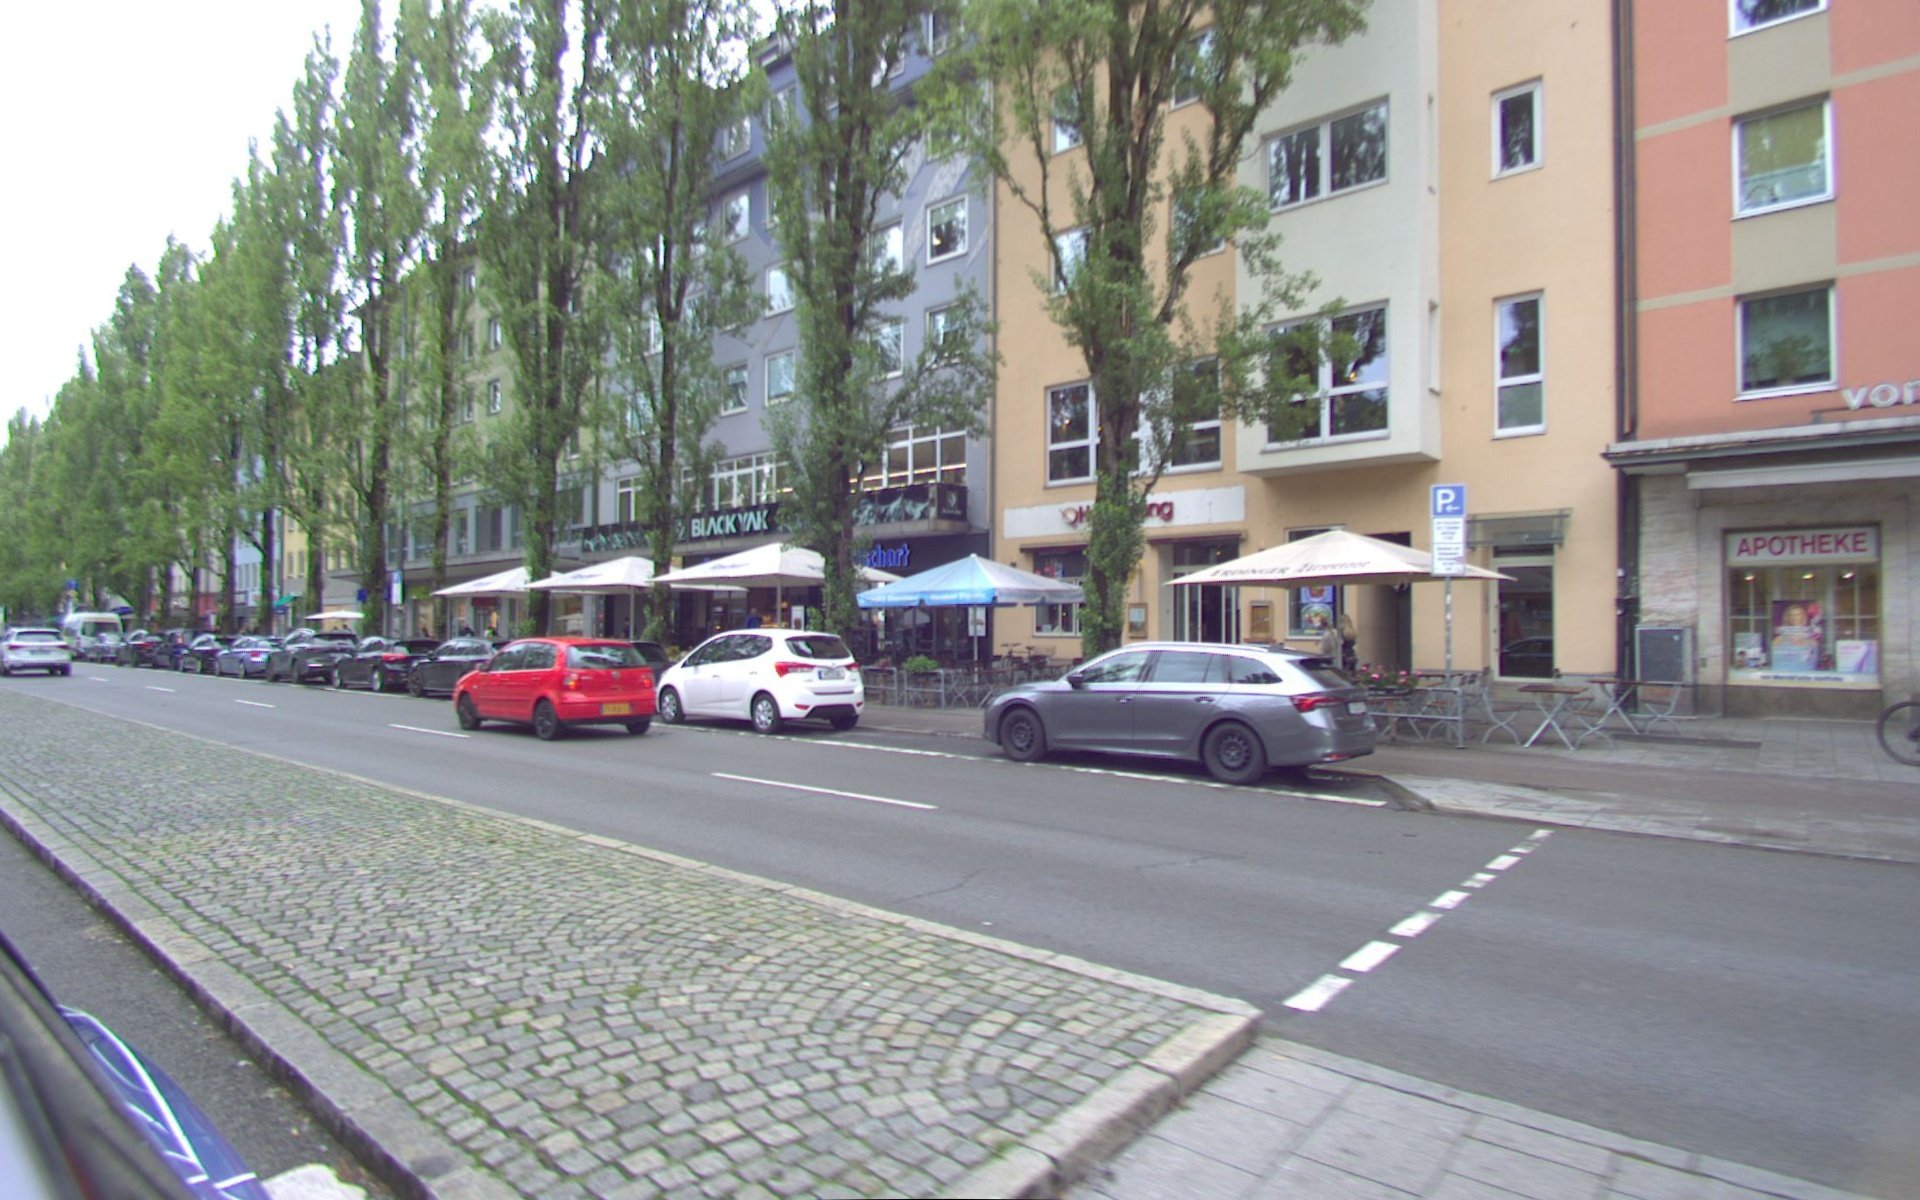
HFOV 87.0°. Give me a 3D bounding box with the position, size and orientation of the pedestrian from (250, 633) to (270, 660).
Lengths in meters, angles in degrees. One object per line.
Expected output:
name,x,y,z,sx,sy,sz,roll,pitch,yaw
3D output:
pedestrian,-38.308,2.536,55.402,0.550,1.449,0.760,-2,-3,36

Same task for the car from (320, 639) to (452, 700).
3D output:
car,-15.374,1.814,27.024,4.367,1.478,1.659,-1,-4,41

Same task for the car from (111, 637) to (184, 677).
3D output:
car,-36.239,2.513,45.101,4.500,1.645,1.685,-1,-4,41

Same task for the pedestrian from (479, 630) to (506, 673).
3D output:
pedestrian,-19.570,2.132,42.369,0.755,1.768,0.810,-2,-2,41

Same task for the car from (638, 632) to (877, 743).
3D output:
car,-3.407,1.342,16.608,4.094,1.595,1.685,-1,-4,41

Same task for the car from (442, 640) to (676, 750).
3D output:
car,-6.167,1.343,15.384,3.821,1.448,1.718,-2,-3,41

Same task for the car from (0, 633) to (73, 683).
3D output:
car,-32.747,2.011,35.491,4.573,1.648,1.824,-2,-4,41

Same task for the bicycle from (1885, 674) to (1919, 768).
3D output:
bicycle,10.735,1.288,10.391,0.324,0.993,1.817,1,-2,-24

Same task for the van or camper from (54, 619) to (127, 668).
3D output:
van or camper,-47.902,2.351,55.707,6.640,2.570,2.103,-2,-2,41

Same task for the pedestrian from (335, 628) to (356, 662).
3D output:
pedestrian,-32.582,2.368,53.673,0.715,1.809,0.740,-2,-2,41

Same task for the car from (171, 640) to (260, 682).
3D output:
car,-28.130,2.247,38.196,4.583,1.457,1.685,-1,-3,41

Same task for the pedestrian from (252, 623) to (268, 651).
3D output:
pedestrian,-43.499,2.308,62.861,0.723,1.717,0.632,-2,-3,40

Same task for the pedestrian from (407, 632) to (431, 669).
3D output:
pedestrian,-24.327,2.264,45.486,0.711,1.663,0.714,-2,-3,41

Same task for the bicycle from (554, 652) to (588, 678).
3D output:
bicycle,-15.407,2.554,40.063,1.849,0.979,0.474,-2,-2,41

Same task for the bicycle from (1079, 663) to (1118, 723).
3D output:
bicycle,2.429,1.617,17.910,0.320,0.966,1.536,0,-2,-6

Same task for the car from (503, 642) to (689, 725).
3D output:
car,-7.089,1.537,19.520,4.184,1.392,1.478,-1,-4,41

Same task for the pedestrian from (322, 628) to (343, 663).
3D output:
pedestrian,-32.976,2.368,53.193,0.715,1.809,0.740,-2,-2,41

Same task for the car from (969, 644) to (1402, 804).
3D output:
car,2.419,1.261,11.589,4.585,1.449,1.686,-1,-3,39

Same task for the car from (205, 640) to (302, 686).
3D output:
car,-24.352,2.130,34.832,4.398,1.428,1.641,-1,-4,40

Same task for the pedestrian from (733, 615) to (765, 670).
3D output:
pedestrian,-6.941,1.404,33.342,0.755,1.768,0.733,-2,-3,41

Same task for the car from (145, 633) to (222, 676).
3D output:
car,-32.272,2.249,42.044,3.766,1.699,1.602,-1,-5,38

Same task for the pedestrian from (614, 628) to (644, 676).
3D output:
pedestrian,-11.537,1.792,35.266,0.756,1.653,0.732,-2,-3,42

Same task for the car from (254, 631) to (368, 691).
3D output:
car,-19.971,1.818,31.086,4.585,1.693,1.761,-1,-4,42

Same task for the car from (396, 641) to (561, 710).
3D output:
car,-11.211,1.690,23.430,4.429,1.423,1.686,-1,-3,39

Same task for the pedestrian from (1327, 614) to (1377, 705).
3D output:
pedestrian,7.287,1.097,18.807,0.691,1.651,0.549,-2,-3,40

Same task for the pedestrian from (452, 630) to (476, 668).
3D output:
pedestrian,-21.786,2.144,44.485,0.755,1.685,0.701,-2,-2,41

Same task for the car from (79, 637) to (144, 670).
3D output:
car,-42.783,2.675,51.024,4.256,1.541,1.686,-1,-3,39

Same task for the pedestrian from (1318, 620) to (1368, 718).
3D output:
pedestrian,6.938,1.242,18.331,0.691,1.731,0.549,-2,-3,40

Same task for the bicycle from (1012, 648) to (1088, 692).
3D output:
bicycle,2.156,1.683,24.520,1.956,1.010,0.437,-2,-3,42

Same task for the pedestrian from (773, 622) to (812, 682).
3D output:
pedestrian,-4.595,1.418,27.742,0.756,1.614,0.732,-2,-3,42

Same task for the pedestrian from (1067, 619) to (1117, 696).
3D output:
pedestrian,2.948,1.275,22.605,0.801,1.681,0.772,-2,-3,40
